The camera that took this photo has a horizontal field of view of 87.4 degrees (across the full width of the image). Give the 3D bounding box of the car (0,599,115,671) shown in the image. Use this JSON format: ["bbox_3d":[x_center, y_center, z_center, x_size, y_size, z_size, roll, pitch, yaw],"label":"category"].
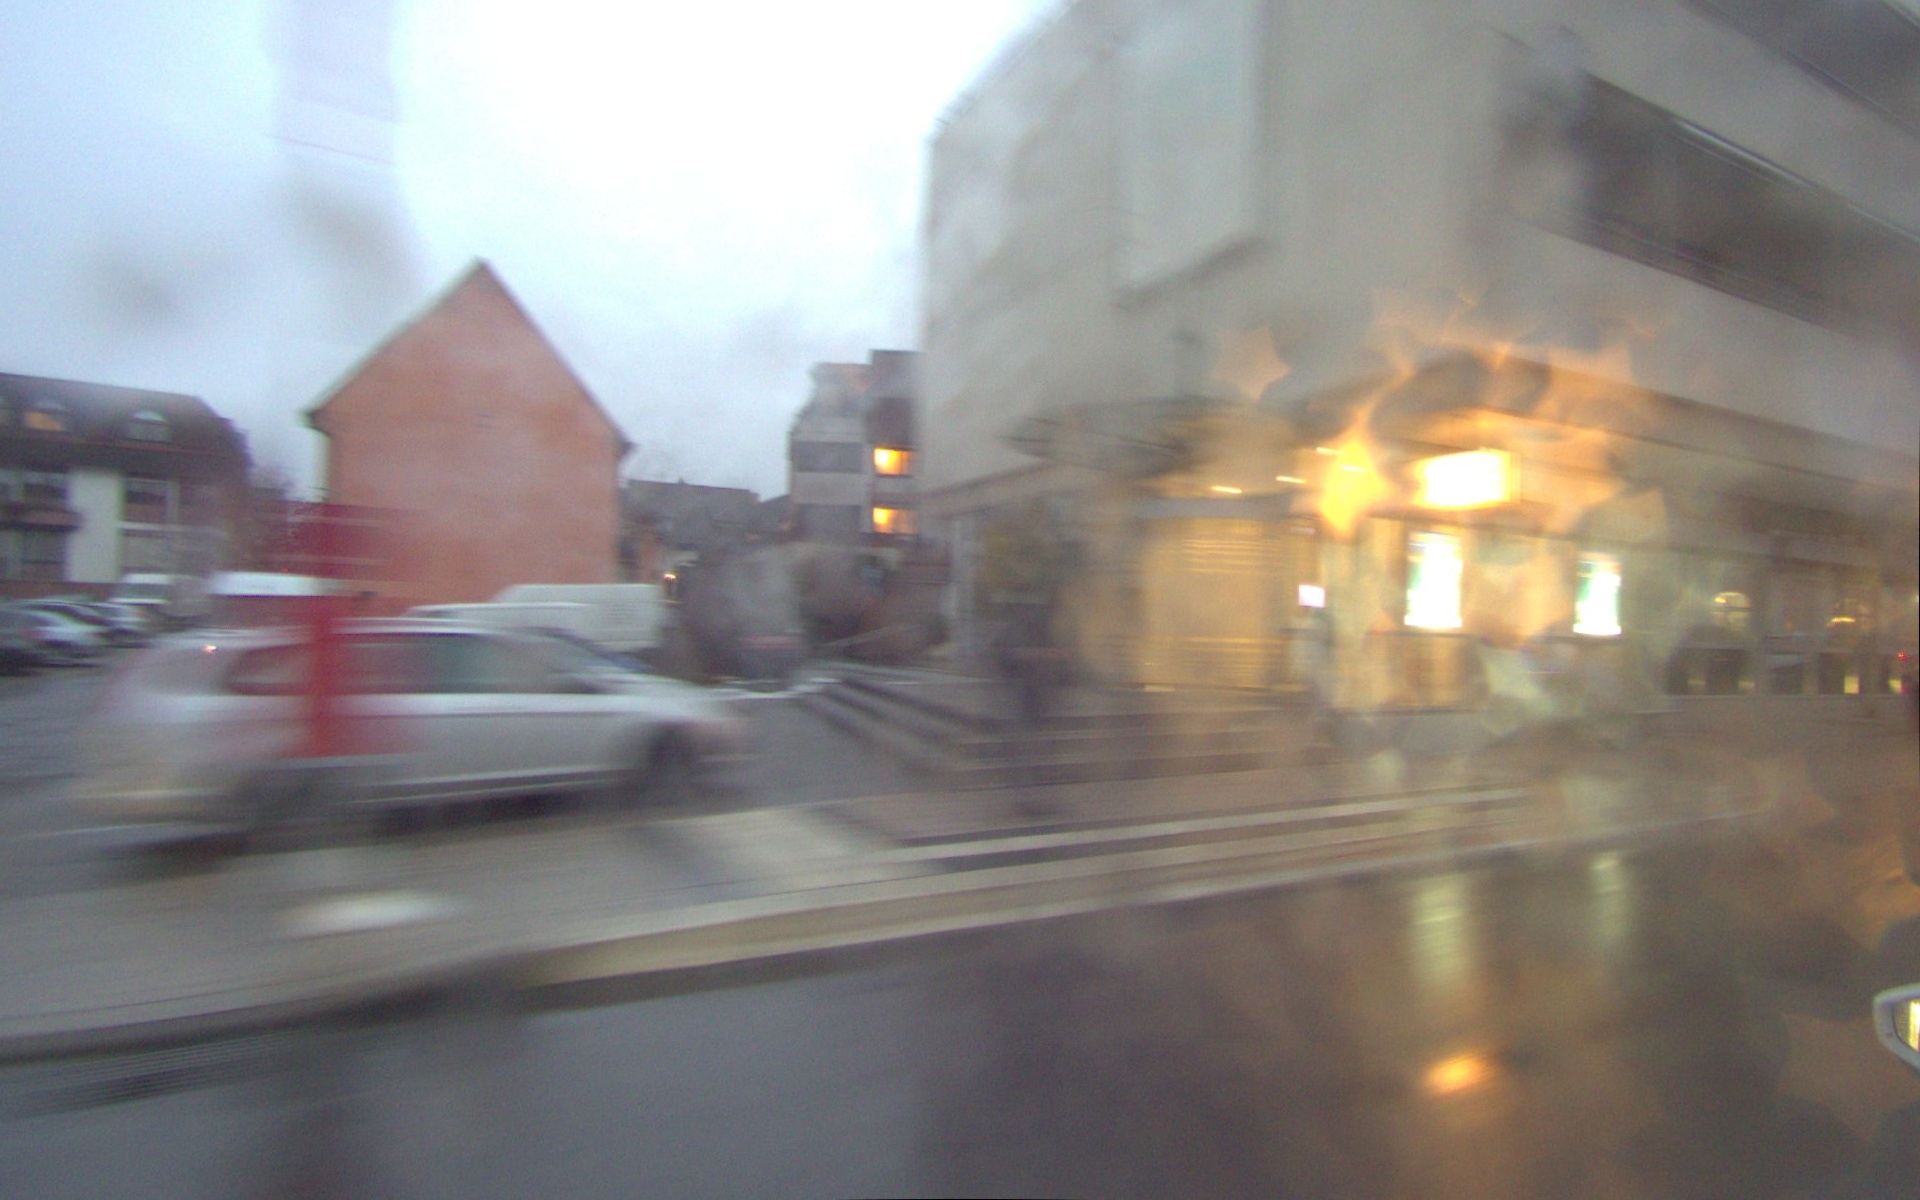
[{"bbox_3d":[-28.593,1.070,30.794,1.679,2.122,3.950,-2,-1,42],"label":"car"}]

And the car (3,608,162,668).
[{"bbox_3d":[-30.045,1.270,34.456,1.679,1.909,3.950,-2,-1,42],"label":"car"}]

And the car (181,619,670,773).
[{"bbox_3d":[-6.353,1.054,12.565,4.976,1.520,2.096,-1,-1,-25],"label":"car"}]

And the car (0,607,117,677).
[{"bbox_3d":[-24.600,1.085,26.105,1.679,1.757,3.950,-2,-1,42],"label":"car"}]

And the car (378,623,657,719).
[{"bbox_3d":[-7.850,1.213,18.142,4.386,1.483,1.694,-1,-1,-23],"label":"car"}]

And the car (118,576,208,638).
[{"bbox_3d":[-36.619,0.407,46.292,1.972,2.700,4.972,1,-2,-23],"label":"car"}]

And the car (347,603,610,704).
[{"bbox_3d":[-10.651,1.126,22.499,5.098,1.990,1.691,-1,-1,-28],"label":"car"}]

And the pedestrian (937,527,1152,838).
[{"bbox_3d":[0.575,0.536,7.058,1.186,1.964,0.970,0,-1,-26],"label":"pedestrian"}]

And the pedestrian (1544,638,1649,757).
[{"bbox_3d":[7.653,1.142,12.083,0.818,1.328,0.752,1,0,-30],"label":"pedestrian"}]

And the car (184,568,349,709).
[{"bbox_3d":[-15.340,0.861,22.643,1.951,2.697,6.722,2,-2,-26],"label":"car"}]

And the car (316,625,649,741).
[{"bbox_3d":[-7.151,1.183,15.456,4.386,1.483,1.694,-1,-1,-23],"label":"car"}]

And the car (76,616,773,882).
[{"bbox_3d":[-3.883,0.936,7.952,4.399,1.520,1.755,-1,-1,-32],"label":"car"}]

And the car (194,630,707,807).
[{"bbox_3d":[-5.019,1.075,10.433,4.392,1.419,1.692,-1,-1,-27],"label":"car"}]

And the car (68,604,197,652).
[{"bbox_3d":[-34.493,1.133,41.943,1.679,1.909,3.950,-2,-1,42],"label":"car"}]

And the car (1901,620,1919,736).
[{"bbox_3d":[14.987,1.106,13.951,3.879,1.553,1.608,1,0,-28],"label":"car"}]

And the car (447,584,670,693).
[{"bbox_3d":[-10.173,0.910,25.626,5.094,2.525,1.692,-1,-1,-26],"label":"car"}]

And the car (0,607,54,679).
[{"bbox_3d":[-23.742,1.034,23.260,1.679,1.674,3.950,-2,-1,42],"label":"car"}]
